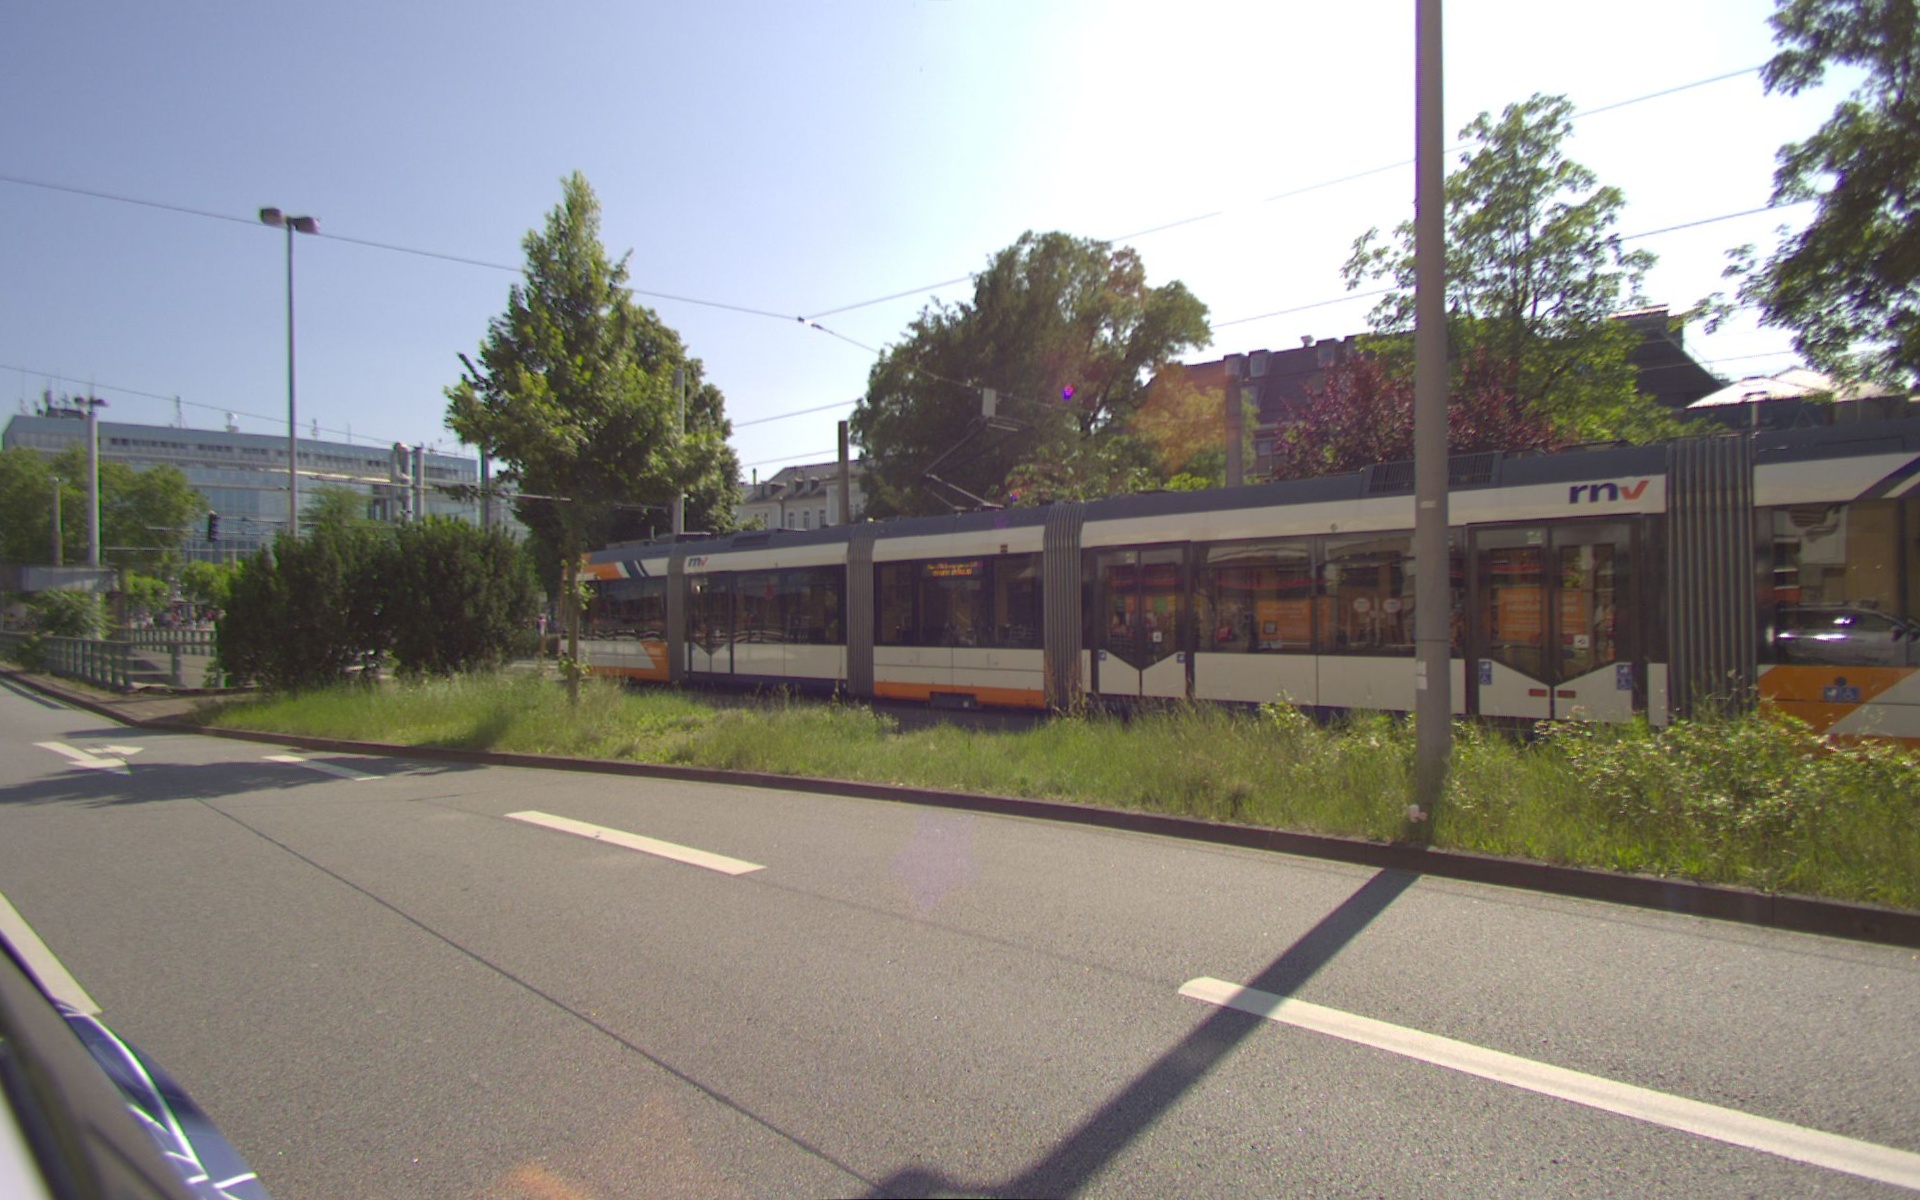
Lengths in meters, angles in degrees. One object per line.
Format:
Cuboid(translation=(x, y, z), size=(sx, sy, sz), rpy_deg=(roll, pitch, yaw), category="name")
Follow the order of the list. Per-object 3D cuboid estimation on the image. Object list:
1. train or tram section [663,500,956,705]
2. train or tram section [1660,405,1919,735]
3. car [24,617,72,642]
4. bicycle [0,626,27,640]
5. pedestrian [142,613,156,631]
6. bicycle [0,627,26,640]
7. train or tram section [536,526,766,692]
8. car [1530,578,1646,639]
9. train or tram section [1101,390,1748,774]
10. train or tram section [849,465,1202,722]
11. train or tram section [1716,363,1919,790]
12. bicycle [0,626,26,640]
Cuboid(translation=(-3.257, 0.057, 20.833), size=(6.103, 3.608, 2.585), rpy_deg=(-2, 1, 43), category="train or tram section")
Cuboid(translation=(13.436, -0.430, 10.316), size=(10.029, 3.608, 2.793), rpy_deg=(-2, 1, 42), category="train or tram section")
Cuboid(translation=(-85.393, 2.731, 94.819), size=(1.965, 2.028, 5.084), rpy_deg=(-2, 1, -26), category="car")
Cuboid(translation=(-83.631, 2.921, 89.399), size=(0.482, 1.156, 1.734), rpy_deg=(-1, 0, 40), category="bicycle")
Cuboid(translation=(-68.677, 1.865, 85.700), size=(0.549, 1.477, 0.621), rpy_deg=(-1, -3, 20), category="pedestrian")
Cuboid(translation=(-84.007, 2.974, 89.732), size=(0.482, 1.156, 1.734), rpy_deg=(-1, 0, 40), category="bicycle")
Cuboid(translation=(-7.745, 0.178, 24.971), size=(6.103, 3.608, 2.586), rpy_deg=(-1, 1, 43), category="train or tram section")
Cuboid(translation=(36.382, 0.501, 58.755), size=(5.419, 3.341, 2.104), rpy_deg=(-1, 1, 42), category="car")
Cuboid(translation=(5.434, -0.140, 12.793), size=(6.897, 3.608, 2.585), rpy_deg=(-2, 1, 43), category="train or tram section")
Cuboid(translation=(0.953, -0.076, 16.940), size=(5.356, 3.608, 2.585), rpy_deg=(-2, 1, 43), category="train or tram section")
Cuboid(translation=(10.201, -0.273, 8.390), size=(6.016, 3.608, 2.585), rpy_deg=(-2, 1, 43), category="train or tram section")
Cuboid(translation=(-84.607, 2.925, 90.253), size=(0.482, 1.156, 1.841), rpy_deg=(-1, 0, 40), category="bicycle")
